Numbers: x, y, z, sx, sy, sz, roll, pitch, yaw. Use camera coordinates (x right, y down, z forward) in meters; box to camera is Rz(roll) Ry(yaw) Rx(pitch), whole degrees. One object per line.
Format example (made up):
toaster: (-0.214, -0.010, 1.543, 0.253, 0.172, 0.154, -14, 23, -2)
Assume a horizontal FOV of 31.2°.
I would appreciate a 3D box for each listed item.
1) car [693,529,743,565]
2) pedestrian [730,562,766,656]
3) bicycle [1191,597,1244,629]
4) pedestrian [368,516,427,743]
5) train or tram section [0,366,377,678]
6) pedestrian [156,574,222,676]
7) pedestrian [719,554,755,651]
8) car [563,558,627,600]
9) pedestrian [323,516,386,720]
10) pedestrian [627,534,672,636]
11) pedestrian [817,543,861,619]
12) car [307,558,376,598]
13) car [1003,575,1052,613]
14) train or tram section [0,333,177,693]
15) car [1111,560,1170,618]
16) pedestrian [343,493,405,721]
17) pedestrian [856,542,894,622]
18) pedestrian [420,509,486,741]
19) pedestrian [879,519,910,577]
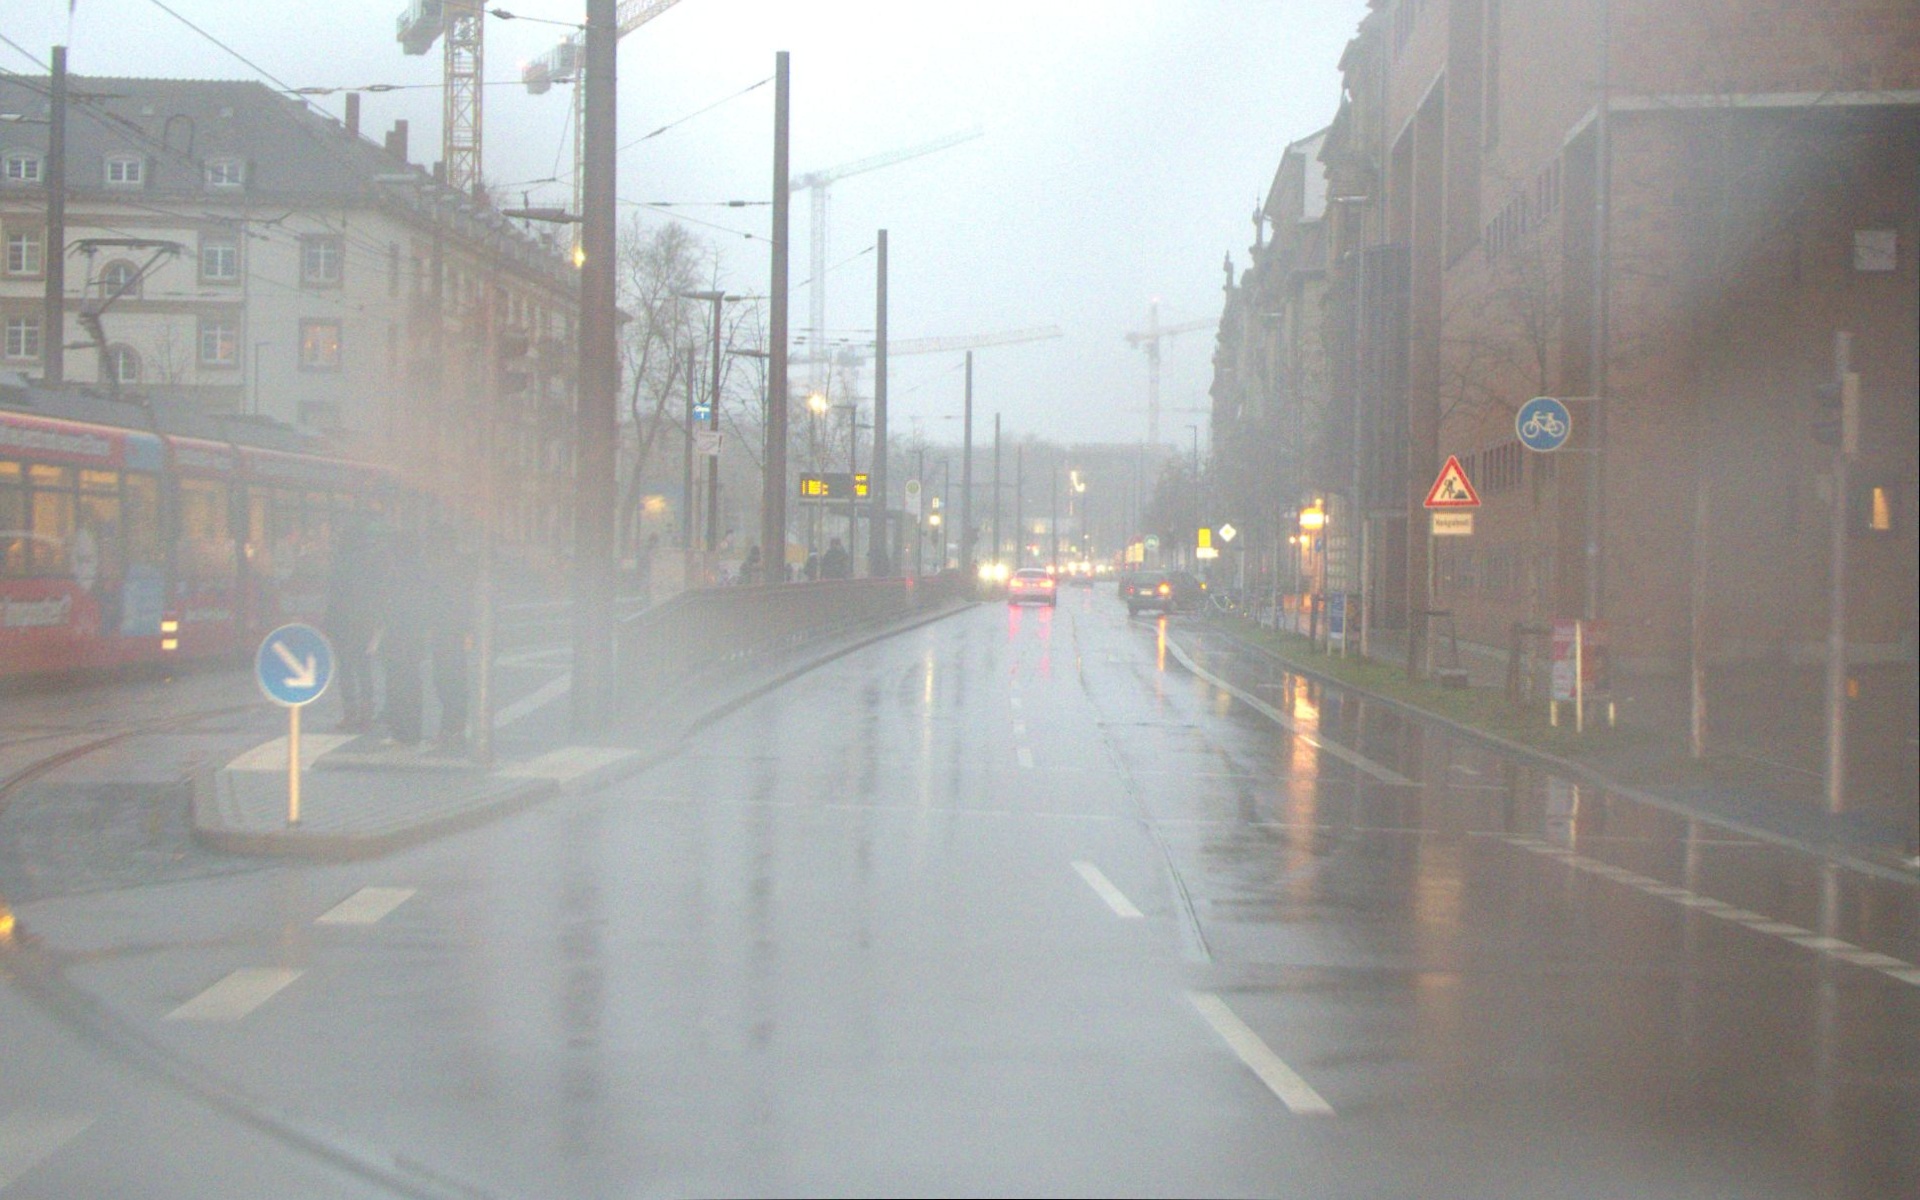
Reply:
car: (-9.958, -2.176, 141.521, 1.682, 1.349, 3.546, 2, 0, 1)
pedestrian: (-3.601, 0.145, 58.527, 0.540, 1.584, 0.563, 2, 0, 0)
bicycle: (8.485, 0.425, 113.214, 1.730, 1.051, 0.371, 0, 0, 1)
pedestrian: (-4.455, 0.230, 27.237, 0.359, 1.780, 0.440, 2, 0, -3)
train or tram section: (-10.519, -0.994, 45.916, 2.925, 3.566, 11.034, 3, 1, 3)
pedestrian: (-9.021, 0.288, 40.227, 0.580, 1.148, 0.490, 3, 0, 4)
pedestrian: (-3.923, 0.046, 60.556, 0.540, 1.686, 0.643, 2, 0, 0)
car: (-12.559, -0.716, 118.469, 1.682, 1.349, 3.546, 2, 0, 1)
pedestrian: (-5.193, 0.150, 29.497, 0.433, 1.729, 0.473, 2, 0, -3)
pedestrian: (-4.927, -0.236, 54.555, 0.618, 1.584, 0.622, 2, 0, 0)
pedestrian: (-2.728, -0.429, 77.677, 0.776, 1.698, 0.773, 2, 0, -16)
car: (-22.057, -0.783, 122.697, 1.682, 1.349, 3.546, 2, 0, 1)
car: (2.696, -0.252, 136.730, 1.784, 1.462, 3.148, 1, 1, 4)
train or tram section: (-11.027, -0.925, 34.270, 2.950, 3.577, 12.254, 3, 1, 3)
car: (6.537, -0.409, 124.058, 1.994, 2.007, 3.999, 1, 1, 4)
pedestrian: (-5.118, 0.059, 30.042, 0.433, 1.960, 0.473, 2, 0, -3)
pedestrian: (-2.088, -0.438, 84.446, 0.809, 1.941, 0.804, 1, 1, 3)
pedestrian: (-4.088, 0.195, 27.756, 0.412, 1.839, 0.670, 2, 0, -3)
pedestrian: (-1.724, -1.364, 90.035, 0.679, 1.511, 0.619, 2, 0, -10)
